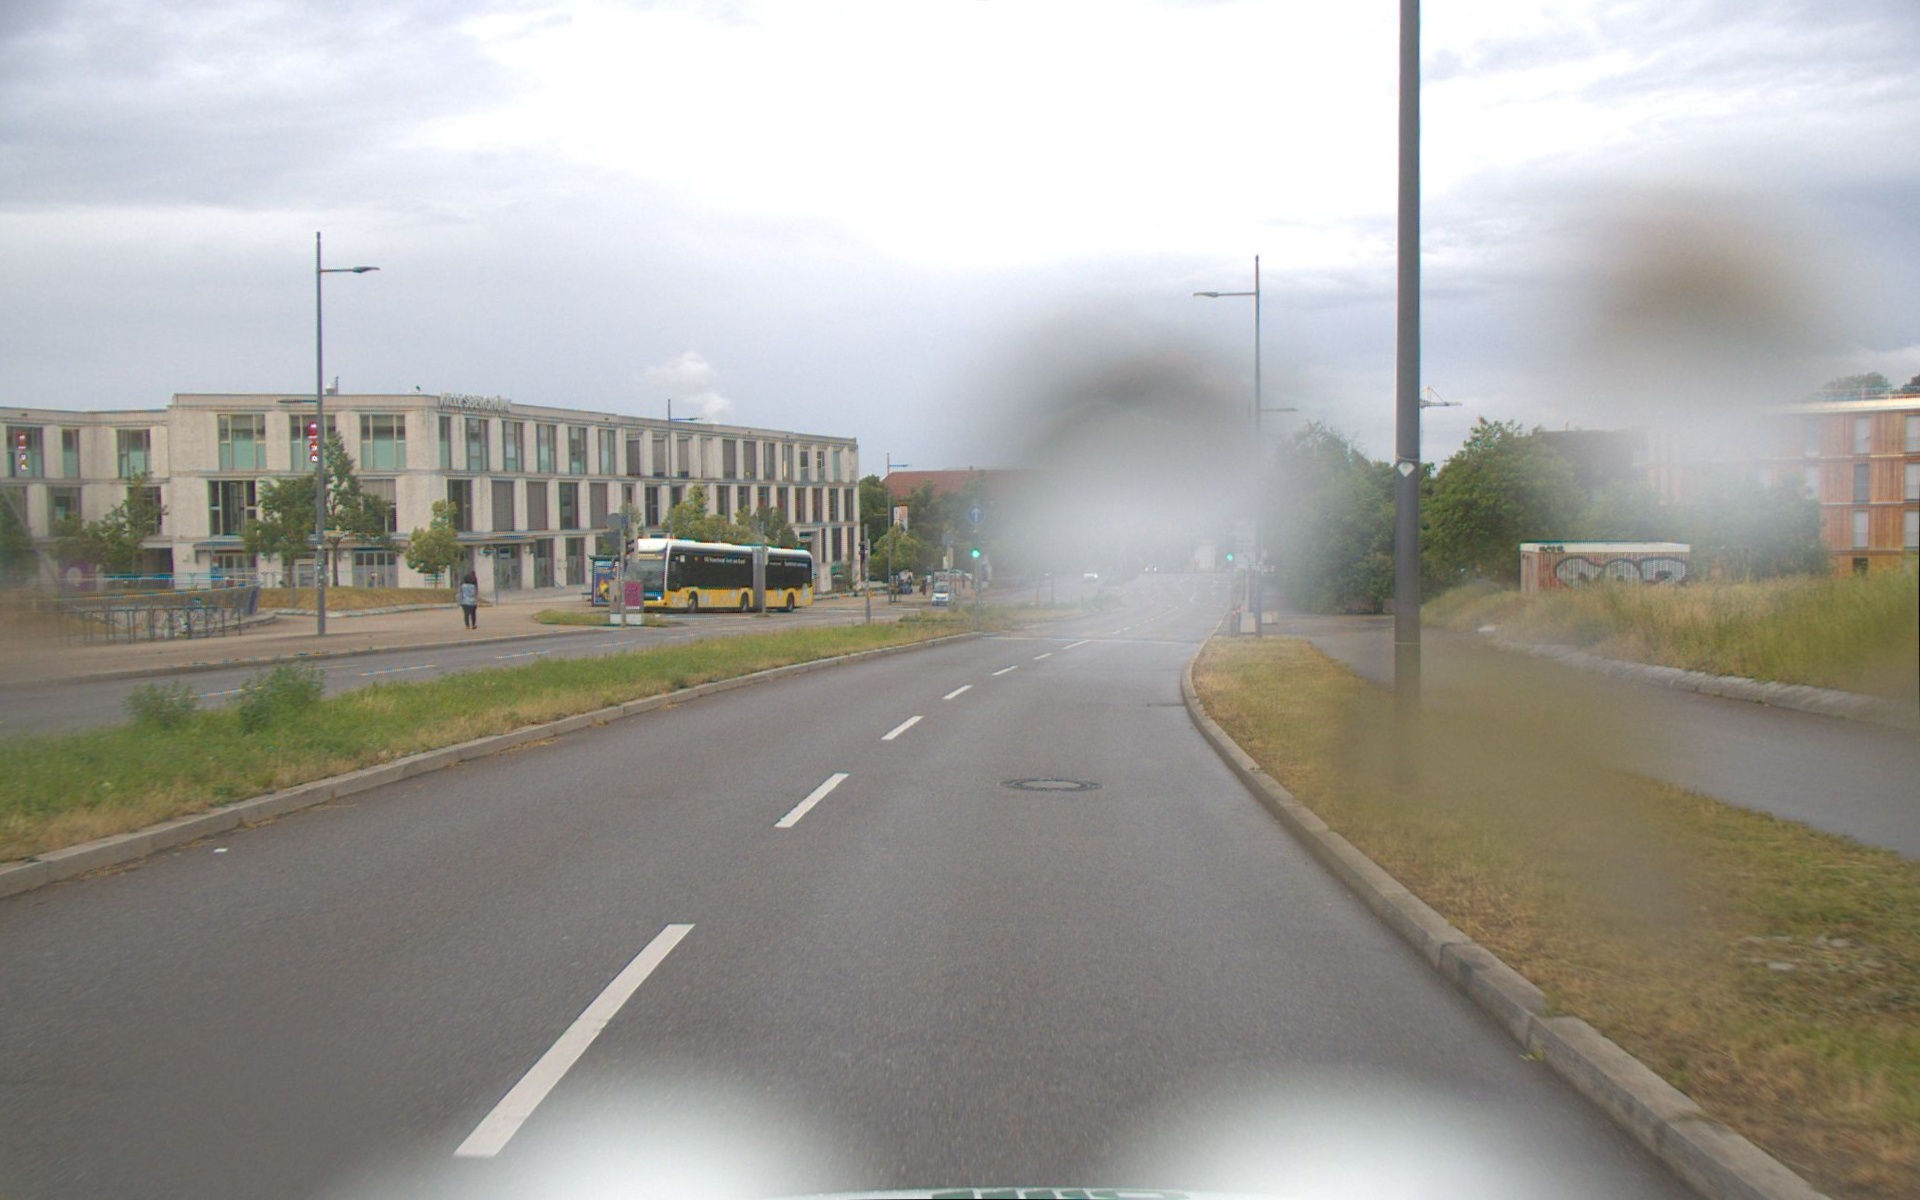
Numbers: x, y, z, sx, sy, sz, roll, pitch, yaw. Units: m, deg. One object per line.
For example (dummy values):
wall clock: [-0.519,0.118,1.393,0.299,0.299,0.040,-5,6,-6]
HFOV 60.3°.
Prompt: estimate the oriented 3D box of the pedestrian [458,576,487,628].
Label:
pedestrian: [-14.985,0.058,50.872,0.820,1.601,0.716,0,-1,-15]

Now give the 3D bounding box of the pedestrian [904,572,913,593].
pedestrian: [-4.683,-1.638,151.579,0.734,1.885,0.836,0,-1,-8]

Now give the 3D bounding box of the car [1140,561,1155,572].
car: [29.338,-5.216,258.966,1.731,1.520,4.071,-1,-1,14]

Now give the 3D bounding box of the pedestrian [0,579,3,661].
pedestrian: [-19.681,0.392,32.828,0.796,1.649,0.935,0,-1,2]

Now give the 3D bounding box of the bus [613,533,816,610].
bus: [-11.961,-1.237,84.096,2.726,3.416,18.236,-1,-1,17]

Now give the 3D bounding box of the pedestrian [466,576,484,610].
pedestrian: [-21.789,-0.308,74.274,0.669,1.551,0.718,0,-1,-9]

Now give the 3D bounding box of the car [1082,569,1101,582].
car: [16.344,-3.067,205.037,1.731,1.520,4.071,-1,-1,14]

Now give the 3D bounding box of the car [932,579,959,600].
car: [-1.096,-0.780,125.457,1.447,1.520,2.532,-1,-1,15]

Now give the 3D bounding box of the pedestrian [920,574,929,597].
pedestrian: [-3.052,-1.221,142.164,0.734,1.981,0.836,0,-1,-8]
